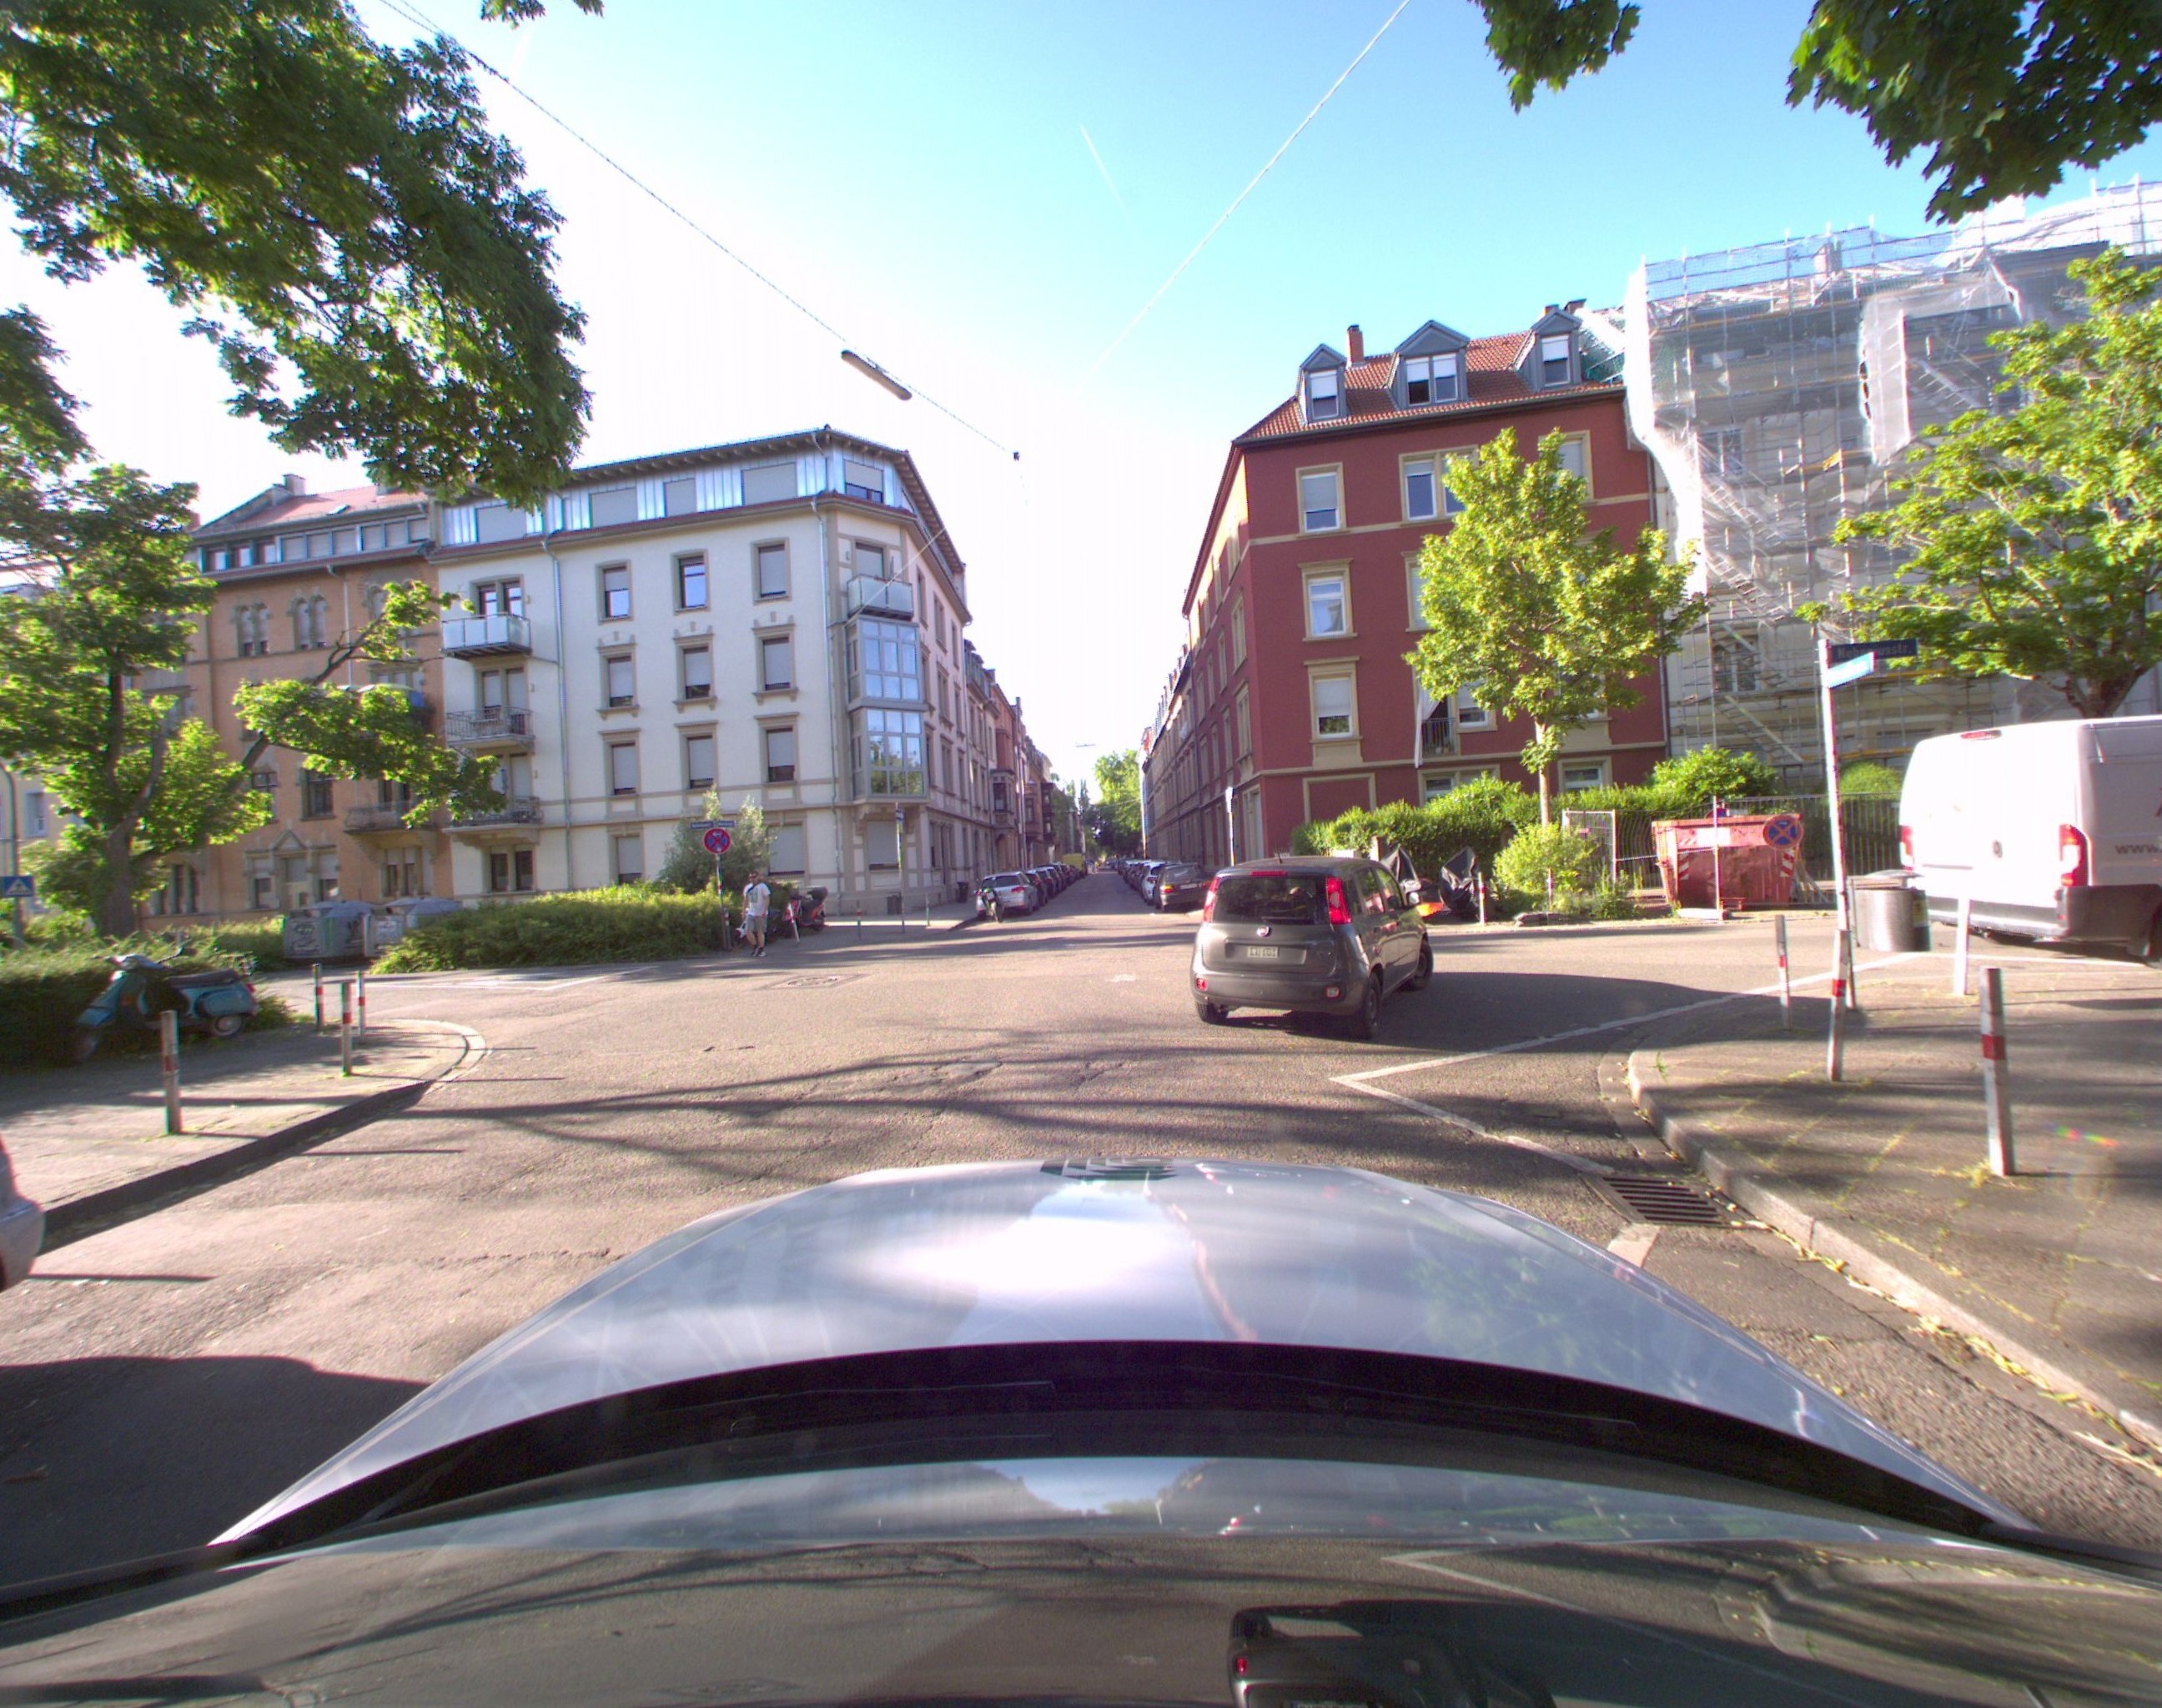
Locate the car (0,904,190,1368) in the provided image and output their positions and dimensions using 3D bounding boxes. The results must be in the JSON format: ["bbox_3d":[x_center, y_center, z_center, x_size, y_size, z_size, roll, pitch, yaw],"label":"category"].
[{"bbox_3d":[-4.637,1.050,1.383,1.700,1.558,3.953,-7,-1,1],"label":"car"}]

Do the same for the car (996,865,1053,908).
[{"bbox_3d":[-2.202,1.249,32.477,1.774,1.483,3.744,-4,0,2],"label":"car"}]

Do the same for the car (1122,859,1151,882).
[{"bbox_3d":[3.797,1.075,56.005,1.770,1.397,4.319,-4,0,2],"label":"car"}]

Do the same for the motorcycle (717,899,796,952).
[{"bbox_3d":[-7.616,1.656,19.193,0.634,1.090,1.878,-4,-2,17],"label":"motorcycle"}]

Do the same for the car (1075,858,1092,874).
[{"bbox_3d":[0.239,1.438,95.713,1.813,1.766,4.333,-4,-1,-1],"label":"car"}]

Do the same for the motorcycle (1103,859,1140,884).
[{"bbox_3d":[2.624,1.126,52.829,2.230,1.536,0.883,-1,-1,-25],"label":"motorcycle"}]

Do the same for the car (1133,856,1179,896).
[{"bbox_3d":[3.162,0.891,35.052,1.670,1.503,4.071,-4,0,2],"label":"car"}]

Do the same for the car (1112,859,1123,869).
[{"bbox_3d":[6.651,1.802,149.609,1.888,1.625,4.000,-4,-1,1],"label":"car"}]

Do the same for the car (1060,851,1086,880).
[{"bbox_3d":[-0.720,1.130,80.898,2.167,2.507,5.879,-6,-1,1],"label":"car"}]

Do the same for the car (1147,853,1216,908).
[{"bbox_3d":[3.039,0.784,25.275,1.662,1.483,3.706,-4,0,1],"label":"car"}]

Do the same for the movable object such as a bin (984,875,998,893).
[{"bbox_3d":[-4.976,1.667,45.178,0.610,0.920,0.734,-3,-1,1],"label":"movable object such as a bin"}]

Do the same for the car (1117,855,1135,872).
[{"bbox_3d":[5.188,1.096,94.229,1.747,1.786,4.725,-6,0,1],"label":"car"}]

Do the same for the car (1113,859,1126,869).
[{"bbox_3d":[5.990,1.564,128.329,1.719,1.522,3.998,-4,0,-1],"label":"car"}]

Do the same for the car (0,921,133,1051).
[{"bbox_3d":[-16.007,1.901,11.211,4.108,1.575,1.889,-4,-1,8],"label":"car"}]

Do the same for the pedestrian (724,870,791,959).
[{"bbox_3d":[-6.752,1.248,17.055,0.798,1.746,1.008,-4,-1,8],"label":"pedestrian"}]

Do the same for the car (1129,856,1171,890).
[{"bbox_3d":[3.385,0.912,40.626,1.654,1.479,4.023,-4,0,-1],"label":"car"}]

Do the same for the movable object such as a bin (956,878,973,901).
[{"bbox_3d":[-5.097,1.563,35.586,0.619,0.956,0.511,-2,-1,1],"label":"movable object such as a bin"}]

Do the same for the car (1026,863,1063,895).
[{"bbox_3d":[-1.937,1.304,43.885,1.637,1.455,3.839,-6,0,1],"label":"car"}]

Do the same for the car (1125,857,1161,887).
[{"bbox_3d":[3.433,0.973,45.682,1.755,1.484,4.404,-4,0,2],"label":"car"}]

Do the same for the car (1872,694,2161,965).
[{"bbox_3d":[12.270,-0.399,8.293,5.610,2.467,2.312,-4,-1,10],"label":"car"}]

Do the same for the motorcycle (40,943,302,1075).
[{"bbox_3d":[-10.033,1.662,9.107,0.539,1.102,1.901,-4,-1,11],"label":"motorcycle"}]

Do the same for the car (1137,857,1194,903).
[{"bbox_3d":[3.038,0.894,29.796,1.699,1.462,3.971,-4,0,1],"label":"car"}]

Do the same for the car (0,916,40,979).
[{"bbox_3d":[-37.027,3.213,25.558,1.980,2.013,4.926,-4,-1,12],"label":"car"}]

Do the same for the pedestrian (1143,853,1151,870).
[{"bbox_3d":[6.723,0.772,82.755,0.650,1.630,0.882,-6,-1,5],"label":"pedestrian"}]

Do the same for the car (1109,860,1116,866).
[{"bbox_3d":[9.170,2.557,237.466,1.986,1.728,4.001,-4,0,1],"label":"car"}]

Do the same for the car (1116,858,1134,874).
[{"bbox_3d":[4.839,1.280,88.794,1.747,1.452,4.291,-8,0,3],"label":"car"}]

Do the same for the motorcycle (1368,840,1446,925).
[{"bbox_3d":[6.580,0.516,16.610,0.866,1.525,2.630,-4,0,10],"label":"motorcycle"}]

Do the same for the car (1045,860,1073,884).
[{"bbox_3d":[-1.584,1.261,58.778,1.775,1.606,4.069,-4,0,0],"label":"car"}]

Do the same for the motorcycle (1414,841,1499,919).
[{"bbox_3d":[7.538,0.488,16.494,0.863,1.404,2.550,-4,-1,10],"label":"motorcycle"}]

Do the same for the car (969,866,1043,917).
[{"bbox_3d":[-2.462,1.216,27.678,1.773,1.483,3.936,-4,0,4],"label":"car"}]

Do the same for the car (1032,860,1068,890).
[{"bbox_3d":[-1.804,1.241,49.071,1.754,1.617,4.191,-4,0,2],"label":"car"}]

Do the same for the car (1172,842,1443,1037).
[{"bbox_3d":[2.490,0.695,8.321,1.618,1.483,3.555,-4,-1,32],"label":"car"}]

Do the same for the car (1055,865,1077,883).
[{"bbox_3d":[-1.235,1.666,69.497,1.612,1.326,3.613,-7,-1,1],"label":"car"}]

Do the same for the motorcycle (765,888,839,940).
[{"bbox_3d":[-7.306,1.551,21.442,0.606,1.196,2.055,-4,-2,21],"label":"motorcycle"}]

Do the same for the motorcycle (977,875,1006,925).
[{"bbox_3d":[-2.661,1.328,24.301,0.675,1.334,1.997,-6,0,-5],"label":"motorcycle"}]

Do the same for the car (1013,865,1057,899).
[{"bbox_3d":[-2.140,1.296,38.784,1.775,1.403,3.742,-4,0,0],"label":"car"}]
